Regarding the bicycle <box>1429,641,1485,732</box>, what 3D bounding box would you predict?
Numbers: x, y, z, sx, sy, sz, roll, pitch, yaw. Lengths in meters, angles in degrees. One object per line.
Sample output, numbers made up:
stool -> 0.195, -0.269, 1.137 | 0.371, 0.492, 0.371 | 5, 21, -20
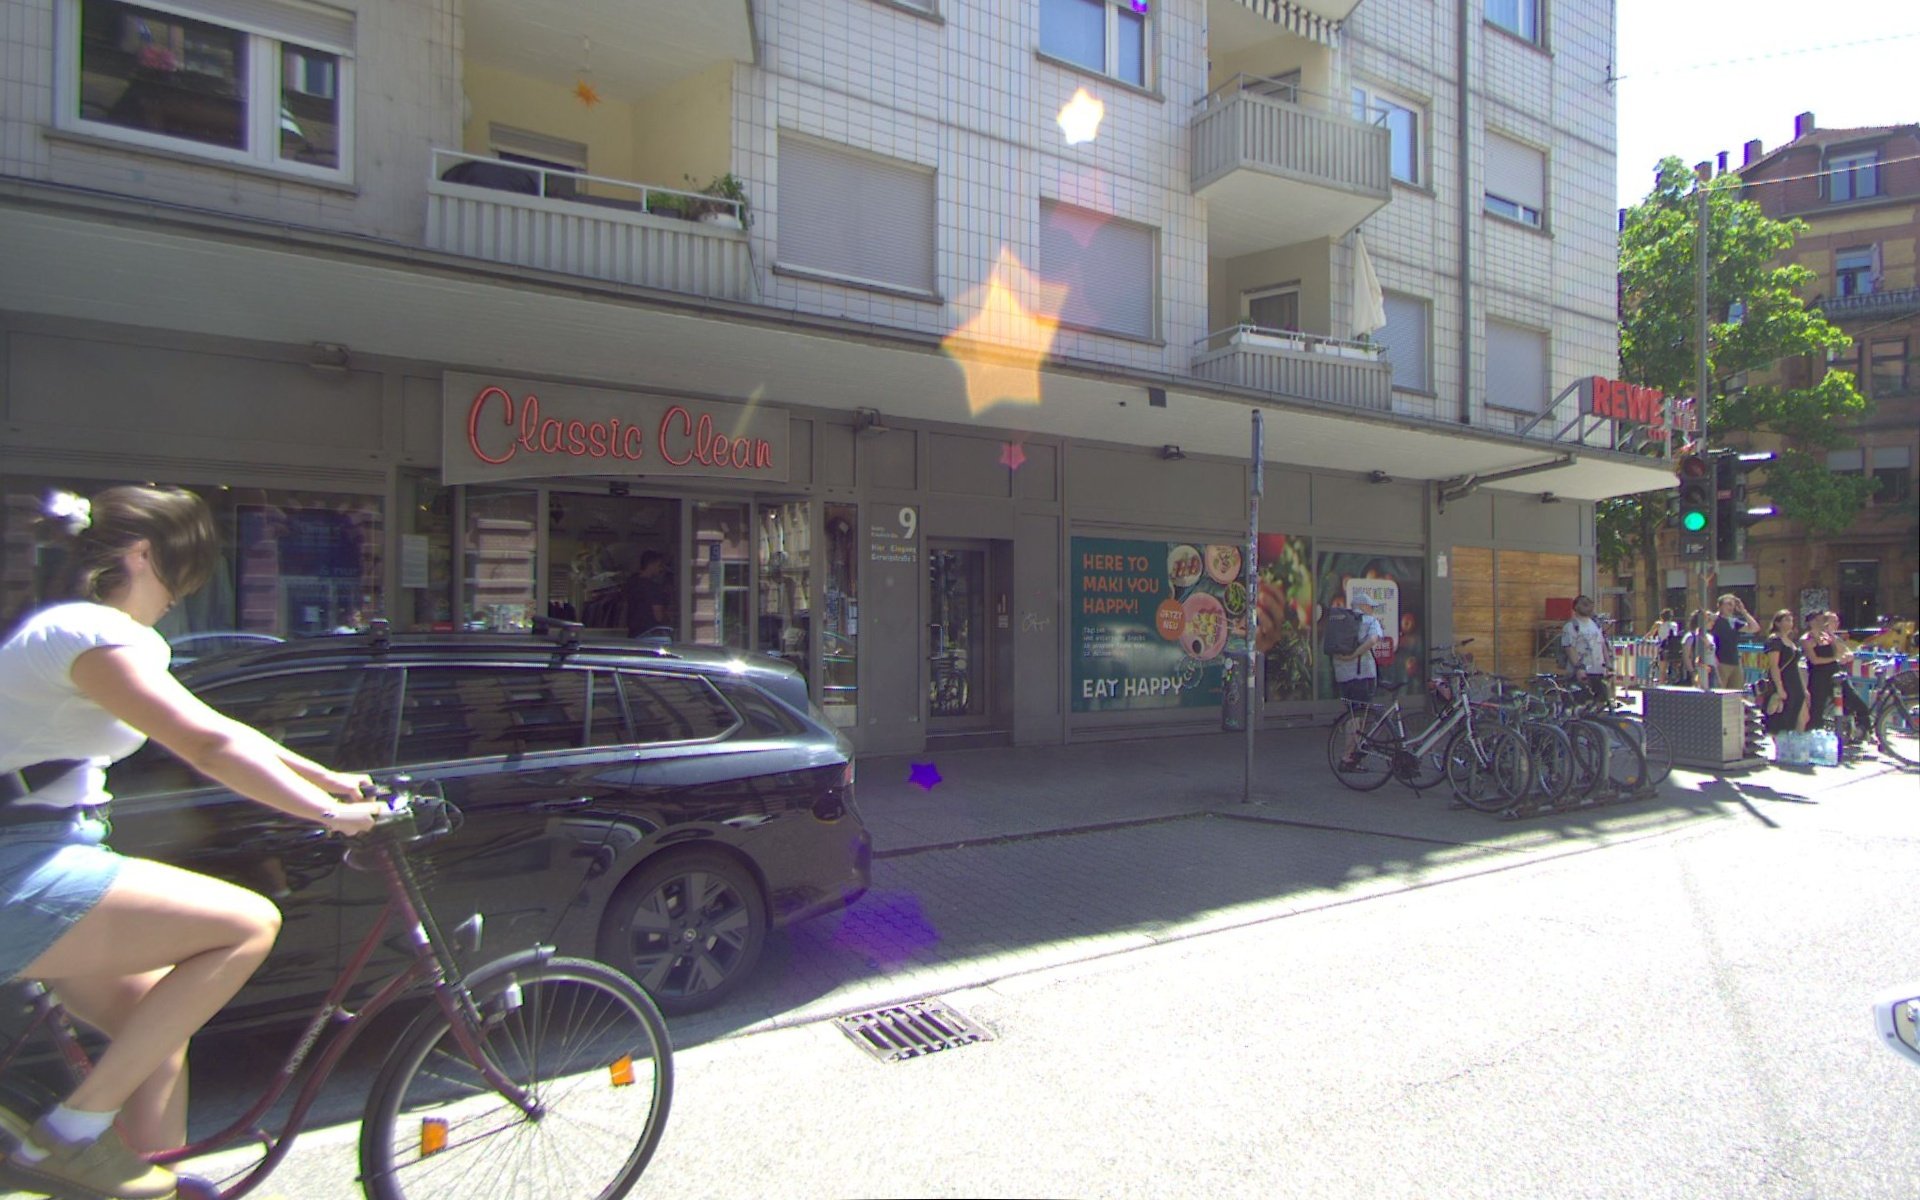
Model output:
bicycle -> 6.628, 1.121, 13.373 | 0.317, 1.101, 1.425 | 0, 0, 41

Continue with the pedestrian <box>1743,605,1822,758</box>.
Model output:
pedestrian -> 9.176, 0.889, 11.210 | 0.506, 1.654, 0.538 | 1, -1, -32

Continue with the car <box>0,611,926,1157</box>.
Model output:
car -> -2.462, 0.829, 3.987 | 4.410, 1.545, 1.662 | 1, 0, -30

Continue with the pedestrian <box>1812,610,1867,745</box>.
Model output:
pedestrian -> 10.930, 0.945, 12.483 | 0.470, 1.639, 0.387 | 1, -1, -32

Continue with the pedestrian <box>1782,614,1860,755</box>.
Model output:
pedestrian -> 10.002, 0.965, 11.683 | 0.450, 1.587, 0.497 | 0, 1, -3

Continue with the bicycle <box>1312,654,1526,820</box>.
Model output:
bicycle -> 3.793, 1.082, 8.415 | 0.521, 1.154, 1.574 | 1, 1, -33

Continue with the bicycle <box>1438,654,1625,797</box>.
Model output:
bicycle -> 5.280, 1.118, 9.371 | 0.332, 1.132, 1.510 | 1, 1, -33

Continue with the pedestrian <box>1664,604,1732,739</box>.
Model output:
pedestrian -> 9.342, 0.891, 12.723 | 0.593, 1.654, 0.506 | 1, -1, -32

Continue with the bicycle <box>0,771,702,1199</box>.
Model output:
bicycle -> -1.566, 1.017, 2.076 | 1.917, 1.106, 0.600 | 1, -1, -31

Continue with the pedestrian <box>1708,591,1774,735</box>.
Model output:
pedestrian -> 10.324, 0.819, 13.275 | 0.593, 1.844, 0.506 | 1, -1, -32

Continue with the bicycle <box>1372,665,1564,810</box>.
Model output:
bicycle -> 4.398, 1.153, 8.800 | 0.394, 1.044, 1.484 | 1, 1, -33

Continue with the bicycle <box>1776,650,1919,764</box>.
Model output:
bicycle -> 10.354, 1.180, 11.443 | 0.459, 1.134, 1.808 | 0, 0, -8

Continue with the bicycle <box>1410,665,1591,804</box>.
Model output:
bicycle -> 4.843, 1.166, 9.081 | 0.332, 1.050, 1.439 | 1, 1, -33

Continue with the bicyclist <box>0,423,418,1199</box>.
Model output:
bicyclist -> -1.658, 0.572, 2.032 | 0.967, 1.729, 0.620 | 1, -1, -30

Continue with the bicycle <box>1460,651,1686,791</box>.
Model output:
bicycle -> 5.906, 1.115, 9.780 | 0.572, 1.138, 1.786 | 1, 0, -35

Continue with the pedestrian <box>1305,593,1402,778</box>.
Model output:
pedestrian -> 3.878, 0.817, 9.916 | 0.650, 1.749, 0.628 | 1, -1, -28

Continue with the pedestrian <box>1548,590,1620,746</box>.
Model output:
pedestrian -> 7.404, 0.791, 11.926 | 0.593, 1.794, 0.506 | 1, -1, -32

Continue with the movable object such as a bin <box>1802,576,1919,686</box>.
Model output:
movable object such as a bin -> 24.273, 0.768, 25.135 | 1.931, 2.694, 4.522 | 1, 0, -29
